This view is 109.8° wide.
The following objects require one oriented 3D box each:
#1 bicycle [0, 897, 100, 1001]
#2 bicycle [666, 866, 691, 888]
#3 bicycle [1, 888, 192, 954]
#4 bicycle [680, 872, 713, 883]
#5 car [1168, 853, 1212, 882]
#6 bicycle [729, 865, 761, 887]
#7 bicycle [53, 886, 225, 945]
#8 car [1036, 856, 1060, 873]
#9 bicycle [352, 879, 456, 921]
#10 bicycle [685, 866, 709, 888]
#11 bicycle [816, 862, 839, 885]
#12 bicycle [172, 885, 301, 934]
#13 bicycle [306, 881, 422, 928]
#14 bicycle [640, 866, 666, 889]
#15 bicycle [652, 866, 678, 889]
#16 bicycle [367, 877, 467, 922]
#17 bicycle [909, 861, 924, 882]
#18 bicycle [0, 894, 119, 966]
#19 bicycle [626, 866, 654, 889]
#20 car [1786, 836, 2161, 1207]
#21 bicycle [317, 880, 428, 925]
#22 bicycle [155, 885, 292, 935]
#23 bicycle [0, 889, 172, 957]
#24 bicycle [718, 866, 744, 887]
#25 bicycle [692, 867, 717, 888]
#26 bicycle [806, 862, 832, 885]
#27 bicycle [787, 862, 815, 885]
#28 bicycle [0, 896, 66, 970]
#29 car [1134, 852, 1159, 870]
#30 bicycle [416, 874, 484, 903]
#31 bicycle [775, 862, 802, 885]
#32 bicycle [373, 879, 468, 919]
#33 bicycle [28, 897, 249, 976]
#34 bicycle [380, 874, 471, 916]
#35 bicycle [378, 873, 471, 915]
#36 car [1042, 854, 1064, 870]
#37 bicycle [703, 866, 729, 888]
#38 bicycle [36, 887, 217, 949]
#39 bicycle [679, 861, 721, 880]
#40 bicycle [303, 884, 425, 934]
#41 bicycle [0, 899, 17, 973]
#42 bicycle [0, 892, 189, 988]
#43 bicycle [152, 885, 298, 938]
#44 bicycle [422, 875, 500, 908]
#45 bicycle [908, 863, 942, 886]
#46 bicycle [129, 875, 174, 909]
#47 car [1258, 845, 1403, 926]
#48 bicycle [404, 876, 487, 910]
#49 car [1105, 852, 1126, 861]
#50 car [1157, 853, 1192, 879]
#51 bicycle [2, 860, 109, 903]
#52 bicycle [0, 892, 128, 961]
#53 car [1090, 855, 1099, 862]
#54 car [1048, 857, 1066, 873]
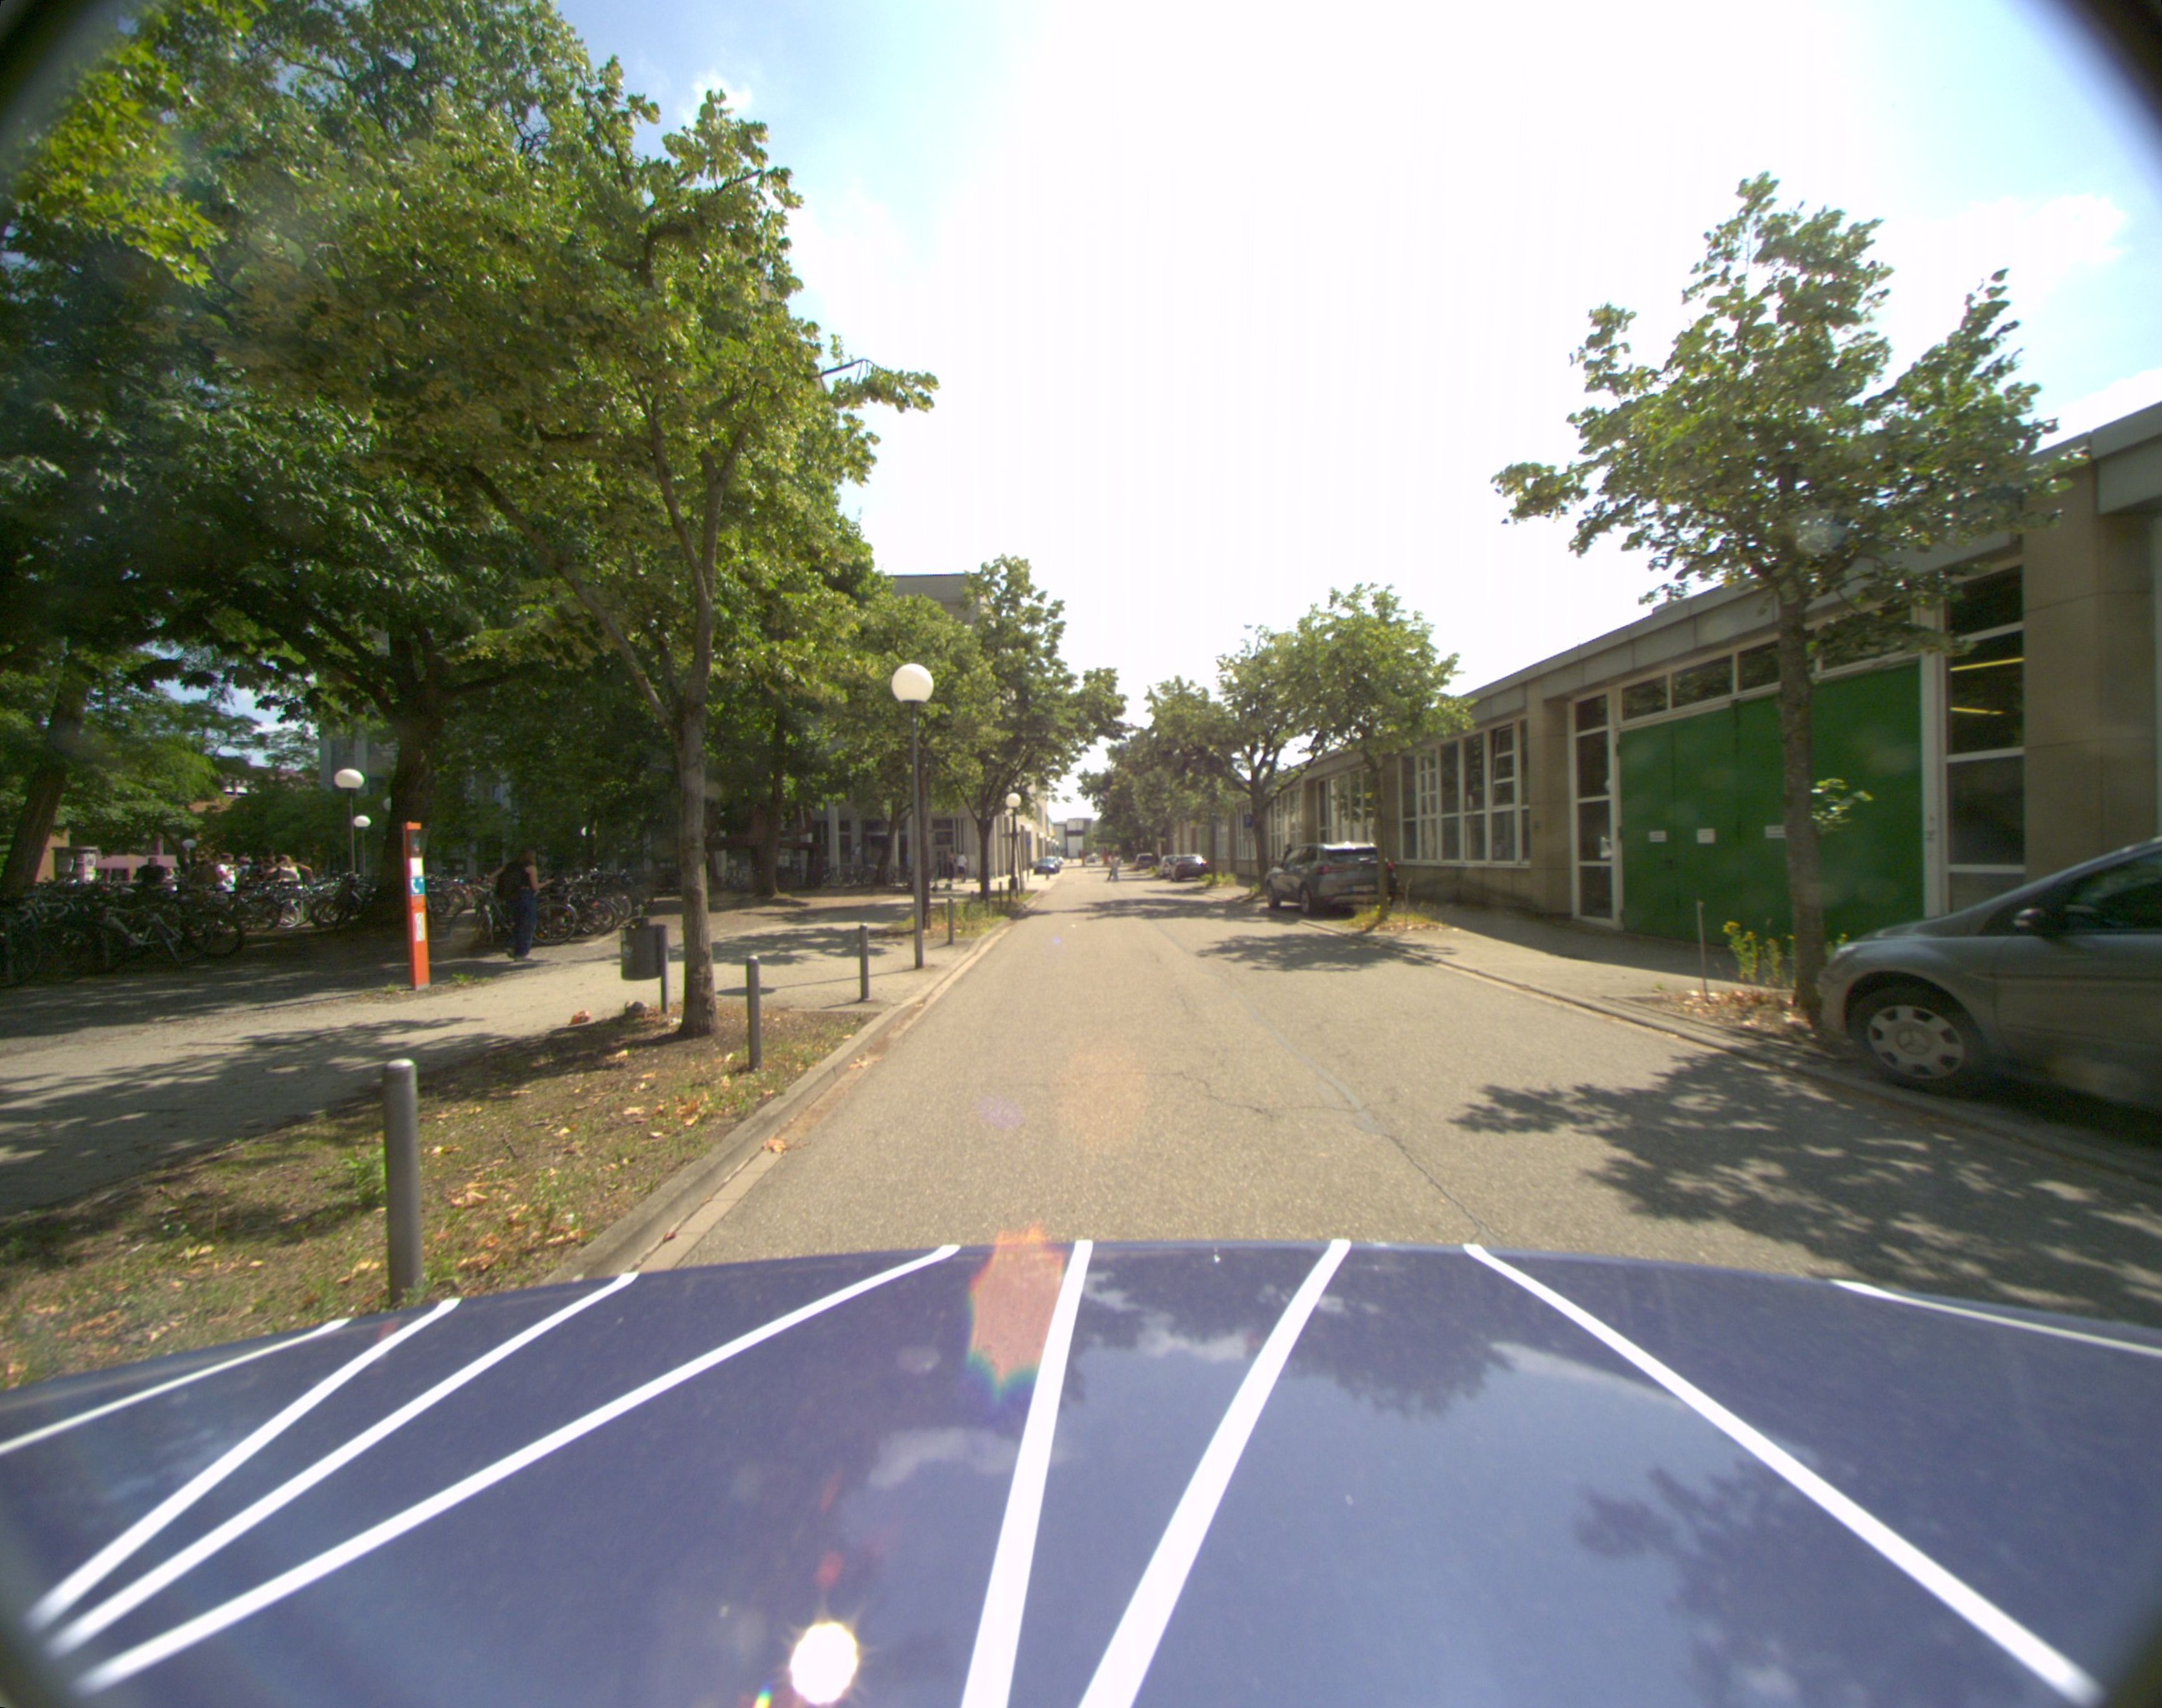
[{"bbox_3d":[-12.545,1.070,8.527,1.811,1.112,0.611,0,1,-21],"label":"bicycle"},{"bbox_3d":[-20.690,1.178,39.069,0.454,1.123,1.688,-3,-1,-5],"label":"bicycle"},{"bbox_3d":[-16.021,1.074,12.421,1.906,0.973,0.477,0,1,-23],"label":"bicycle"},{"bbox_3d":[-26.841,1.628,53.023,1.989,0.755,0.644,0,-1,-2],"label":"bicycle"},{"bbox_3d":[5.976,0.720,42.051,1.729,1.427,4.290,-3,-1,0],"label":"car"},{"bbox_3d":[-17.208,1.128,38.966,0.617,1.041,1.697,-4,-1,8],"label":"bicycle"},{"bbox_3d":[-17.305,1.110,14.026,1.907,0.973,0.535,0,1,-34],"label":"bicycle"},{"bbox_3d":[-2.830,0.878,65.229,1.843,1.389,3.878,1,-1,1],"label":"car"},{"bbox_3d":[-17.157,1.145,19.313,1.907,0.973,0.477,0,1,-30],"label":"bicycle"},{"bbox_3d":[-19.842,1.182,39.283,0.454,1.123,1.688,-3,-1,-5],"label":"bicycle"},{"bbox_3d":[-13.001,1.004,39.022,0.481,1.118,1.697,1,-1,6],"label":"bicycle"},{"bbox_3d":[-18.339,1.187,16.538,1.888,0.973,0.305,0,1,-27],"label":"bicycle"},{"bbox_3d":[-16.472,1.140,17.518,1.908,0.973,0.477,0,1,-40],"label":"bicycle"},{"bbox_3d":[-21.923,1.215,38.970,0.454,1.123,1.688,-3,-1,-5],"label":"bicycle"},{"bbox_3d":[-21.339,1.181,39.020,0.454,1.123,1.688,-3,-1,-5],"label":"bicycle"},{"bbox_3d":[-17.344,1.162,19.903,1.907,1.076,0.477,0,1,-36],"label":"bicycle"},{"bbox_3d":[-10.197,1.055,47.043,0.531,1.235,1.829,-1,1,0],"label":"bicycle"},{"bbox_3d":[-15.458,1.103,11.013,1.906,0.973,0.421,0,1,-21],"label":"bicycle"},{"bbox_3d":[-22.492,1.195,38.781,0.454,1.123,1.688,-3,-1,-5],"label":"bicycle"},{"bbox_3d":[5.559,0.721,2.928,1.762,1.547,4.112,-3,0,-1],"label":"car"},{"bbox_3d":[-16.724,1.122,17.995,1.908,0.973,0.477,0,1,-41],"label":"bicycle"},{"bbox_3d":[-18.116,1.172,16.091,1.906,0.973,0.441,0,1,-23],"label":"bicycle"},{"bbox_3d":[-15.919,1.077,12.058,1.906,0.973,0.477,0,1,-23],"label":"bicycle"},{"bbox_3d":[-17.945,1.145,38.956,0.617,1.041,1.688,-3,-1,-5],"label":"bicycle"},{"bbox_3d":[-19.243,1.188,38.838,0.501,1.041,1.688,-3,-1,-5],"label":"bicycle"},{"bbox_3d":[-13.505,1.001,39.185,0.565,1.118,1.697,1,-1,6],"label":"bicycle"},{"bbox_3d":[-14.346,1.009,38.929,0.627,1.118,1.697,1,-1,6],"label":"bicycle"},{"bbox_3d":[-15.369,1.097,10.305,1.906,0.973,0.477,0,1,-24],"label":"bicycle"},{"bbox_3d":[5.999,0.632,69.799,1.803,1.440,3.676,-4,0,0],"label":"car"},{"bbox_3d":[-23.486,1.275,28.314,1.908,0.973,0.477,0,1,-43],"label":"bicycle"},{"bbox_3d":[-15.054,1.017,39.132,0.627,1.143,1.697,1,-1,2],"label":"bicycle"},{"bbox_3d":[-17.791,1.197,20.510,1.908,0.973,0.477,0,1,-39],"label":"bicycle"},{"bbox_3d":[-13.285,1.139,10.783,1.906,0.973,0.611,0,1,-21],"label":"bicycle"},{"bbox_3d":[-18.497,1.140,21.484,1.907,1.076,0.477,0,1,-36],"label":"bicycle"},{"bbox_3d":[-18.116,1.084,21.027,1.907,1.076,0.477,0,1,-36],"label":"bicycle"},{"bbox_3d":[-2.552,0.742,70.931,1.843,1.389,3.878,1,-1,1],"label":"car"},{"bbox_3d":[-18.663,1.172,38.878,0.617,1.041,1.688,-3,-1,-5],"label":"bicycle"},{"bbox_3d":[-16.570,1.084,13.256,1.906,0.973,0.611,0,1,-21],"label":"bicycle"},{"bbox_3d":[-21.878,0.941,43.646,1.929,1.036,0.818,-1,4,3],"label":"bicycle"},{"bbox_3d":[-15.664,1.174,16.652,0.477,0.973,1.908,1,1,42],"label":"bicycle"},{"bbox_3d":[-15.185,1.095,9.675,1.907,0.973,0.420,0,1,-28],"label":"bicycle"},{"bbox_3d":[-12.859,1.072,9.647,1.906,1.112,0.611,0,1,-21],"label":"bicycle"},{"bbox_3d":[-17.315,1.148,15.423,1.907,0.973,0.477,0,1,-30],"label":"bicycle"},{"bbox_3d":[-19.897,1.177,24.431,0.377,0.973,1.908,1,1,40],"label":"bicycle"},{"bbox_3d":[-7.840,1.014,38.194,0.604,1.135,1.790,1,1,33],"label":"bicycle"},{"bbox_3d":[-27.679,1.106,22.646,0.588,0.926,1.747,2,-1,-43],"label":"bicycle"},{"bbox_3d":[5.854,0.654,18.444,1.826,1.623,4.516,-3,0,-2],"label":"car"},{"bbox_3d":[-19.508,1.187,23.365,1.907,0.973,0.378,0,1,-30],"label":"bicycle"},{"bbox_3d":[6.256,0.526,139.786,3.674,1.440,1.804,-4,0,-1],"label":"car"},{"bbox_3d":[5.832,0.723,47.719,1.634,1.440,3.752,-4,0,0],"label":"car"},{"bbox_3d":[-27.315,0.712,20.277,1.614,1.087,0.477,0,1,-37],"label":"bicycle"},{"bbox_3d":[-15.784,1.082,11.380,1.906,0.973,0.421,0,1,-21],"label":"bicycle"},{"bbox_3d":[2.799,0.969,160.028,1.803,1.440,3.676,-4,0,0],"label":"car"},{"bbox_3d":[-2.648,1.201,85.594,1.799,1.691,4.000,2,-1,1],"label":"car"}]
